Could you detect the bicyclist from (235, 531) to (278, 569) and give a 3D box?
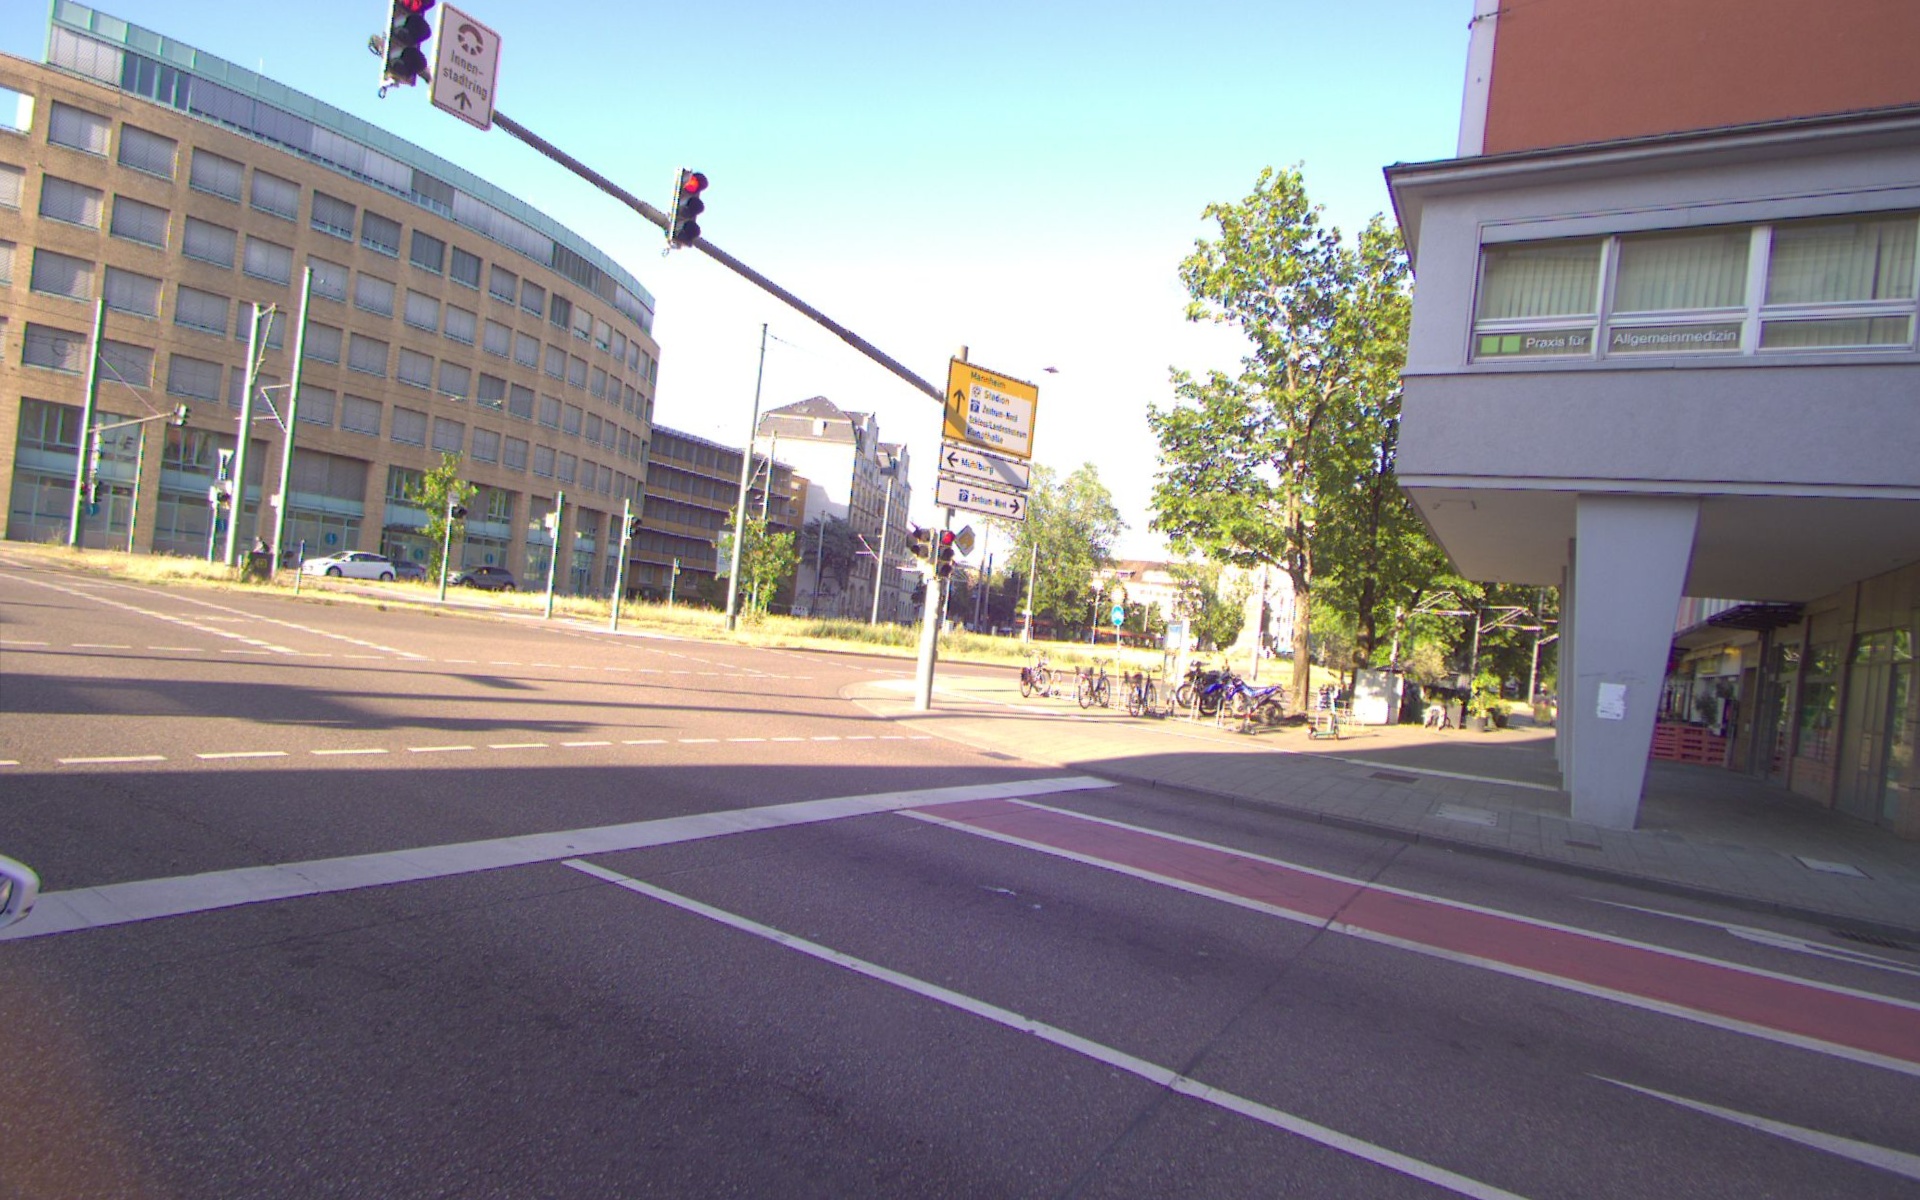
[{"bbox_3d":[-33.971,-2.415,48.580,1.134,1.591,1.225,6,0,30],"label":"bicyclist"}]

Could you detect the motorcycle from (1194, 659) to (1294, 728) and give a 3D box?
[{"bbox_3d":[7.043,2.305,24.955,2.224,1.408,0.845,6,-1,19],"label":"motorcycle"}]

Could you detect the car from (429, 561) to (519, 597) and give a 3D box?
[{"bbox_3d":[-26.860,-1.138,55.695,1.790,1.509,4.059,6,-2,30],"label":"car"}]

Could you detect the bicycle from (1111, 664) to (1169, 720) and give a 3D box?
[{"bbox_3d":[4.137,2.065,22.978,0.583,1.129,2.058,7,1,28],"label":"bicycle"}]

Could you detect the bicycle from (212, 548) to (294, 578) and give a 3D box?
[{"bbox_3d":[-34.062,-1.769,48.541,1.134,1.012,2.966,6,-1,30],"label":"bicycle"}]

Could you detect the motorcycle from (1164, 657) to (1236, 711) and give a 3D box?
[{"bbox_3d":[6.638,2.341,27.757,2.044,1.324,0.880,7,-1,-44],"label":"motorcycle"}]

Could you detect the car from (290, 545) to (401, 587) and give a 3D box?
[{"bbox_3d":[-30.320,-1.674,49.731,1.961,1.509,4.171,6,-2,29],"label":"car"}]

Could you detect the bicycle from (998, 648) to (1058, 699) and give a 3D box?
[{"bbox_3d":[1.675,1.770,24.423,0.584,1.129,1.974,7,1,29],"label":"bicycle"}]

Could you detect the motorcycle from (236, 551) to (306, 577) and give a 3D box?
[{"bbox_3d":[-35.132,-1.833,51.361,1.014,0.975,2.722,6,-2,30],"label":"motorcycle"}]

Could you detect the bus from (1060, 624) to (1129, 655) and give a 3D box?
[{"bbox_3d":[18.517,5.441,138.132,10.995,3.248,2.328,8,-1,-39],"label":"bus"}]

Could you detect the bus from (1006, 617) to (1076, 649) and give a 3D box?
[{"bbox_3d":[10.624,4.362,130.809,2.380,3.248,11.056,5,-2,44],"label":"bus"}]

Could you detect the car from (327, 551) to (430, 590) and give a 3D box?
[{"bbox_3d":[-32.356,-1.618,56.073,1.954,1.555,4.488,6,-2,32],"label":"car"}]

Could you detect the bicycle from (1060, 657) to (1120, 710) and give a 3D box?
[{"bbox_3d":[3.066,1.936,23.597,0.584,1.129,2.003,7,1,29],"label":"bicycle"}]

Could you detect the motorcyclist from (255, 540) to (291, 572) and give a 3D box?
[{"bbox_3d":[-35.083,-2.226,51.374,1.014,1.453,1.067,6,-1,31],"label":"motorcyclist"}]

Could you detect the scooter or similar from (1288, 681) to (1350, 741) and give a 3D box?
[{"bbox_3d":[8.035,2.495,22.487,1.549,1.251,0.479,6,1,-40],"label":"scooter or similar"}]

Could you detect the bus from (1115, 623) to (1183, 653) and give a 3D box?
[{"bbox_3d":[27.286,5.516,144.743,10.975,3.248,2.332,7,-1,-34],"label":"bus"}]
